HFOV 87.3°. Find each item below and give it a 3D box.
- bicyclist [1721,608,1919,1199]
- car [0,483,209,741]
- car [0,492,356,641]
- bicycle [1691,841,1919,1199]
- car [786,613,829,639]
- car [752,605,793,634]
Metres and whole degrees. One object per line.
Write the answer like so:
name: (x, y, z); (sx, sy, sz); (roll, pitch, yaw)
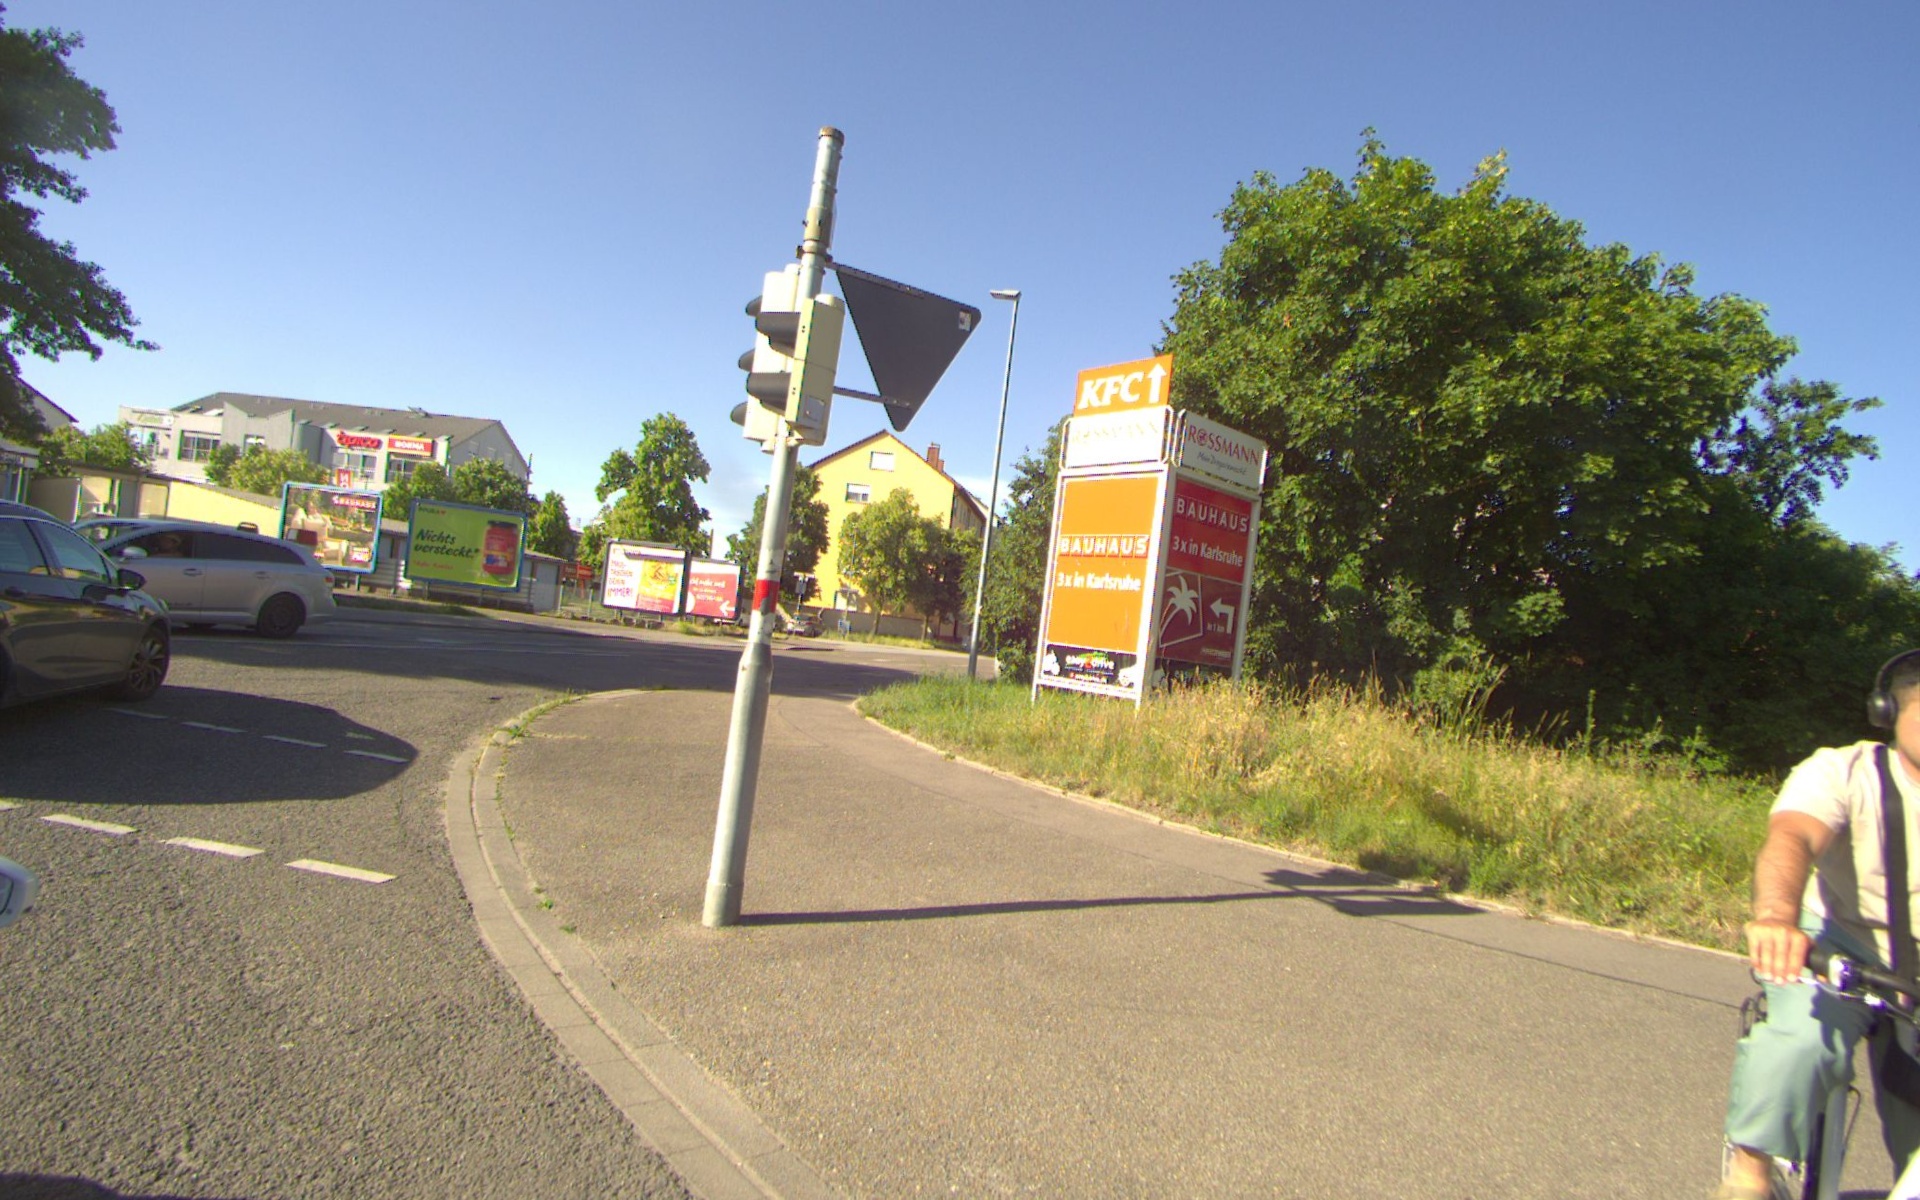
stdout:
bicyclist: (1.904, 0.870, 1.935); (0.534, 1.656, 0.806); (3, 0, 29)
car: (-6.677, -0.042, 6.411); (1.744, 1.508, 4.273); (8, -2, -20)
car: (-10.867, -0.375, 13.258); (1.808, 1.506, 4.894); (5, -2, 18)
bicycle: (1.881, 1.219, 1.926); (0.522, 1.090, 1.865); (3, 1, 30)
car: (-9.863, 1.708, 65.212); (1.701, 1.481, 3.884); (6, -1, 6)
car: (-12.384, 1.327, 66.627); (1.671, 1.641, 3.884); (6, -2, 3)
